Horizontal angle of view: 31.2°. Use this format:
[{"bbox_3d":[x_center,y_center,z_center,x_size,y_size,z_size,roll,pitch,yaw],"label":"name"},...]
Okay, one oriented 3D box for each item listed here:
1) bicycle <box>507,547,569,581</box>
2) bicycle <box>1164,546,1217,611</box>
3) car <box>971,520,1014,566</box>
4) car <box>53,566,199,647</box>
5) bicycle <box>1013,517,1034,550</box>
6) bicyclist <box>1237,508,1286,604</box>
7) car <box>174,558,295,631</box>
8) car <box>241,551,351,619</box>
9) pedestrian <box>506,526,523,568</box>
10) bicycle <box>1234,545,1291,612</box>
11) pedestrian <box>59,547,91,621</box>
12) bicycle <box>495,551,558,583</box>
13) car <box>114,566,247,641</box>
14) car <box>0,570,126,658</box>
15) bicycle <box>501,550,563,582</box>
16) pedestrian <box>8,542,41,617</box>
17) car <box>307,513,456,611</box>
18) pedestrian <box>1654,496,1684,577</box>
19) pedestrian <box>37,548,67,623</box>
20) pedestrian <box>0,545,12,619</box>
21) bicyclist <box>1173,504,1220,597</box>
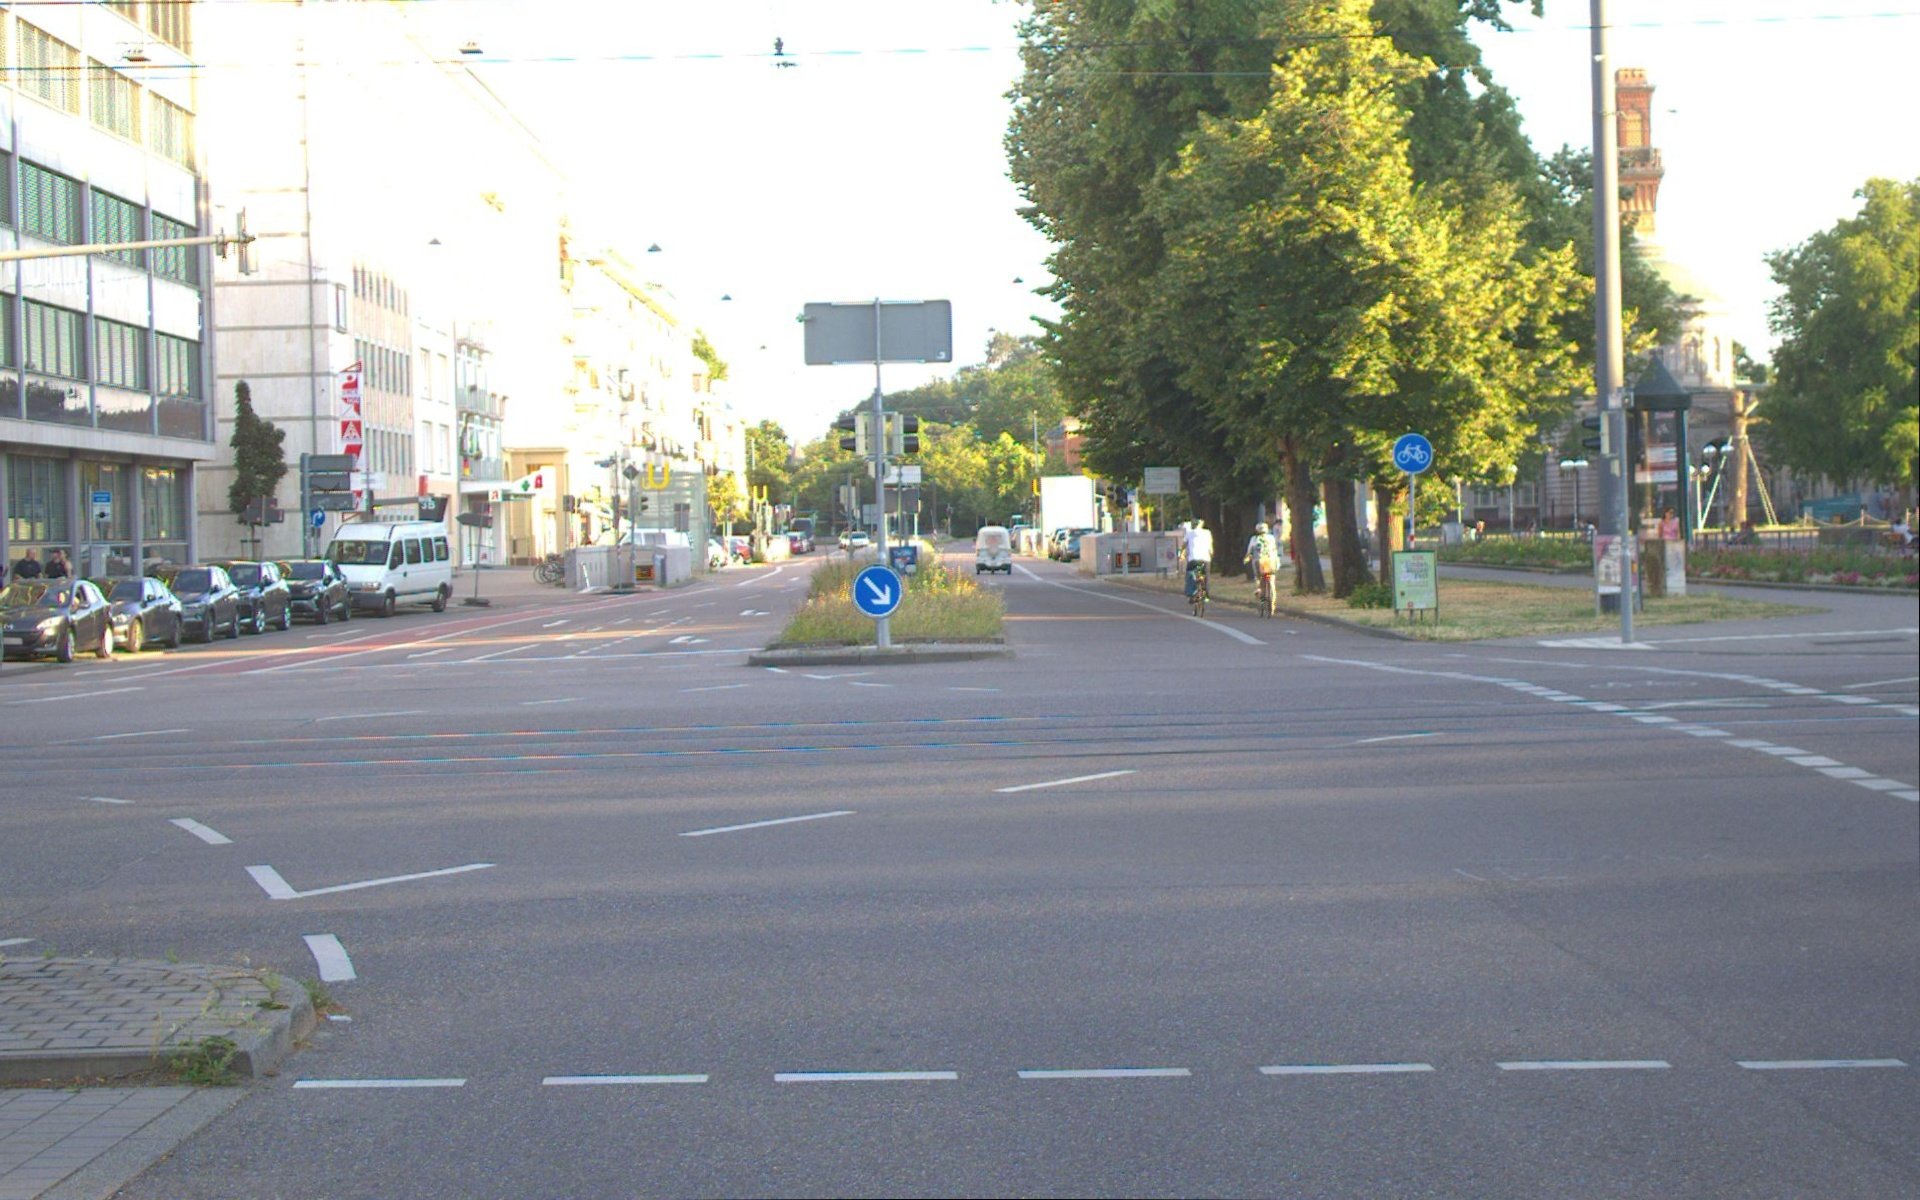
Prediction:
[{"bbox_3d":[-15.815,-1.355,128.898,2.205,1.232,0.839,-2,1,-2],"label":"bicycle"},{"bbox_3d":[4.207,-0.409,62.979,0.746,1.140,2.505,-2,1,-1],"label":"bicycle"},{"bbox_3d":[1.200,-2.138,127.952,1.408,1.636,4.000,-2,1,-2],"label":"car"},{"bbox_3d":[-16.563,0.105,68.450,1.920,1.459,4.000,-2,1,-1],"label":"car"},{"bbox_3d":[3.834,-4.013,207.447,1.002,2.007,4.000,0,1,4],"label":"bicycle"},{"bbox_3d":[5.418,-0.794,61.795,0.746,1.685,0.799,-2,1,-1],"label":"bicyclist"},{"bbox_3d":[-16.544,-0.147,78.566,1.920,1.563,4.000,-2,1,-1],"label":"car"},{"bbox_3d":[-16.345,-0.380,84.793,1.920,1.563,4.000,-2,1,-1],"label":"car"},{"bbox_3d":[-21.371,-2.543,164.889,0.680,2.007,0.545,-2,1,0],"label":"pedestrian"},{"bbox_3d":[5.431,-0.399,61.796,0.746,1.140,2.505,-2,1,-1],"label":"bicycle"},{"bbox_3d":[-20.048,-0.365,77.868,0.551,1.673,0.500,-2,1,-1],"label":"pedestrian"},{"bbox_3d":[-15.823,-1.215,125.455,2.205,1.108,0.619,-2,1,-2],"label":"bicycle"},{"bbox_3d":[-16.566,0.056,73.265,1.920,1.459,4.000,-2,1,-1],"label":"car"},{"bbox_3d":[-16.474,0.236,61.919,1.920,1.459,4.103,-2,1,-1],"label":"car"},{"bbox_3d":[-15.809,-1.257,127.092,2.205,1.108,0.689,-2,1,-2],"label":"bicycle"},{"bbox_3d":[-21.127,-0.458,77.653,0.551,1.673,0.500,-2,1,-1],"label":"pedestrian"},{"bbox_3d":[-15.285,-1.050,91.243,2.002,2.469,5.865,-1,1,10],"label":"car"},{"bbox_3d":[14.588,-1.312,70.732,0.460,1.651,0.567,-1,1,-1],"label":"pedestrian"},{"bbox_3d":[-20.653,-0.333,78.191,0.500,1.673,0.500,-2,1,-1],"label":"pedestrian"},{"bbox_3d":[-21.778,-0.402,77.678,0.551,1.673,0.500,-2,1,-1],"label":"pedestrian"},{"bbox_3d":[4.322,-0.909,62.838,0.746,1.658,0.873,-2,1,-1],"label":"bicyclist"}]
